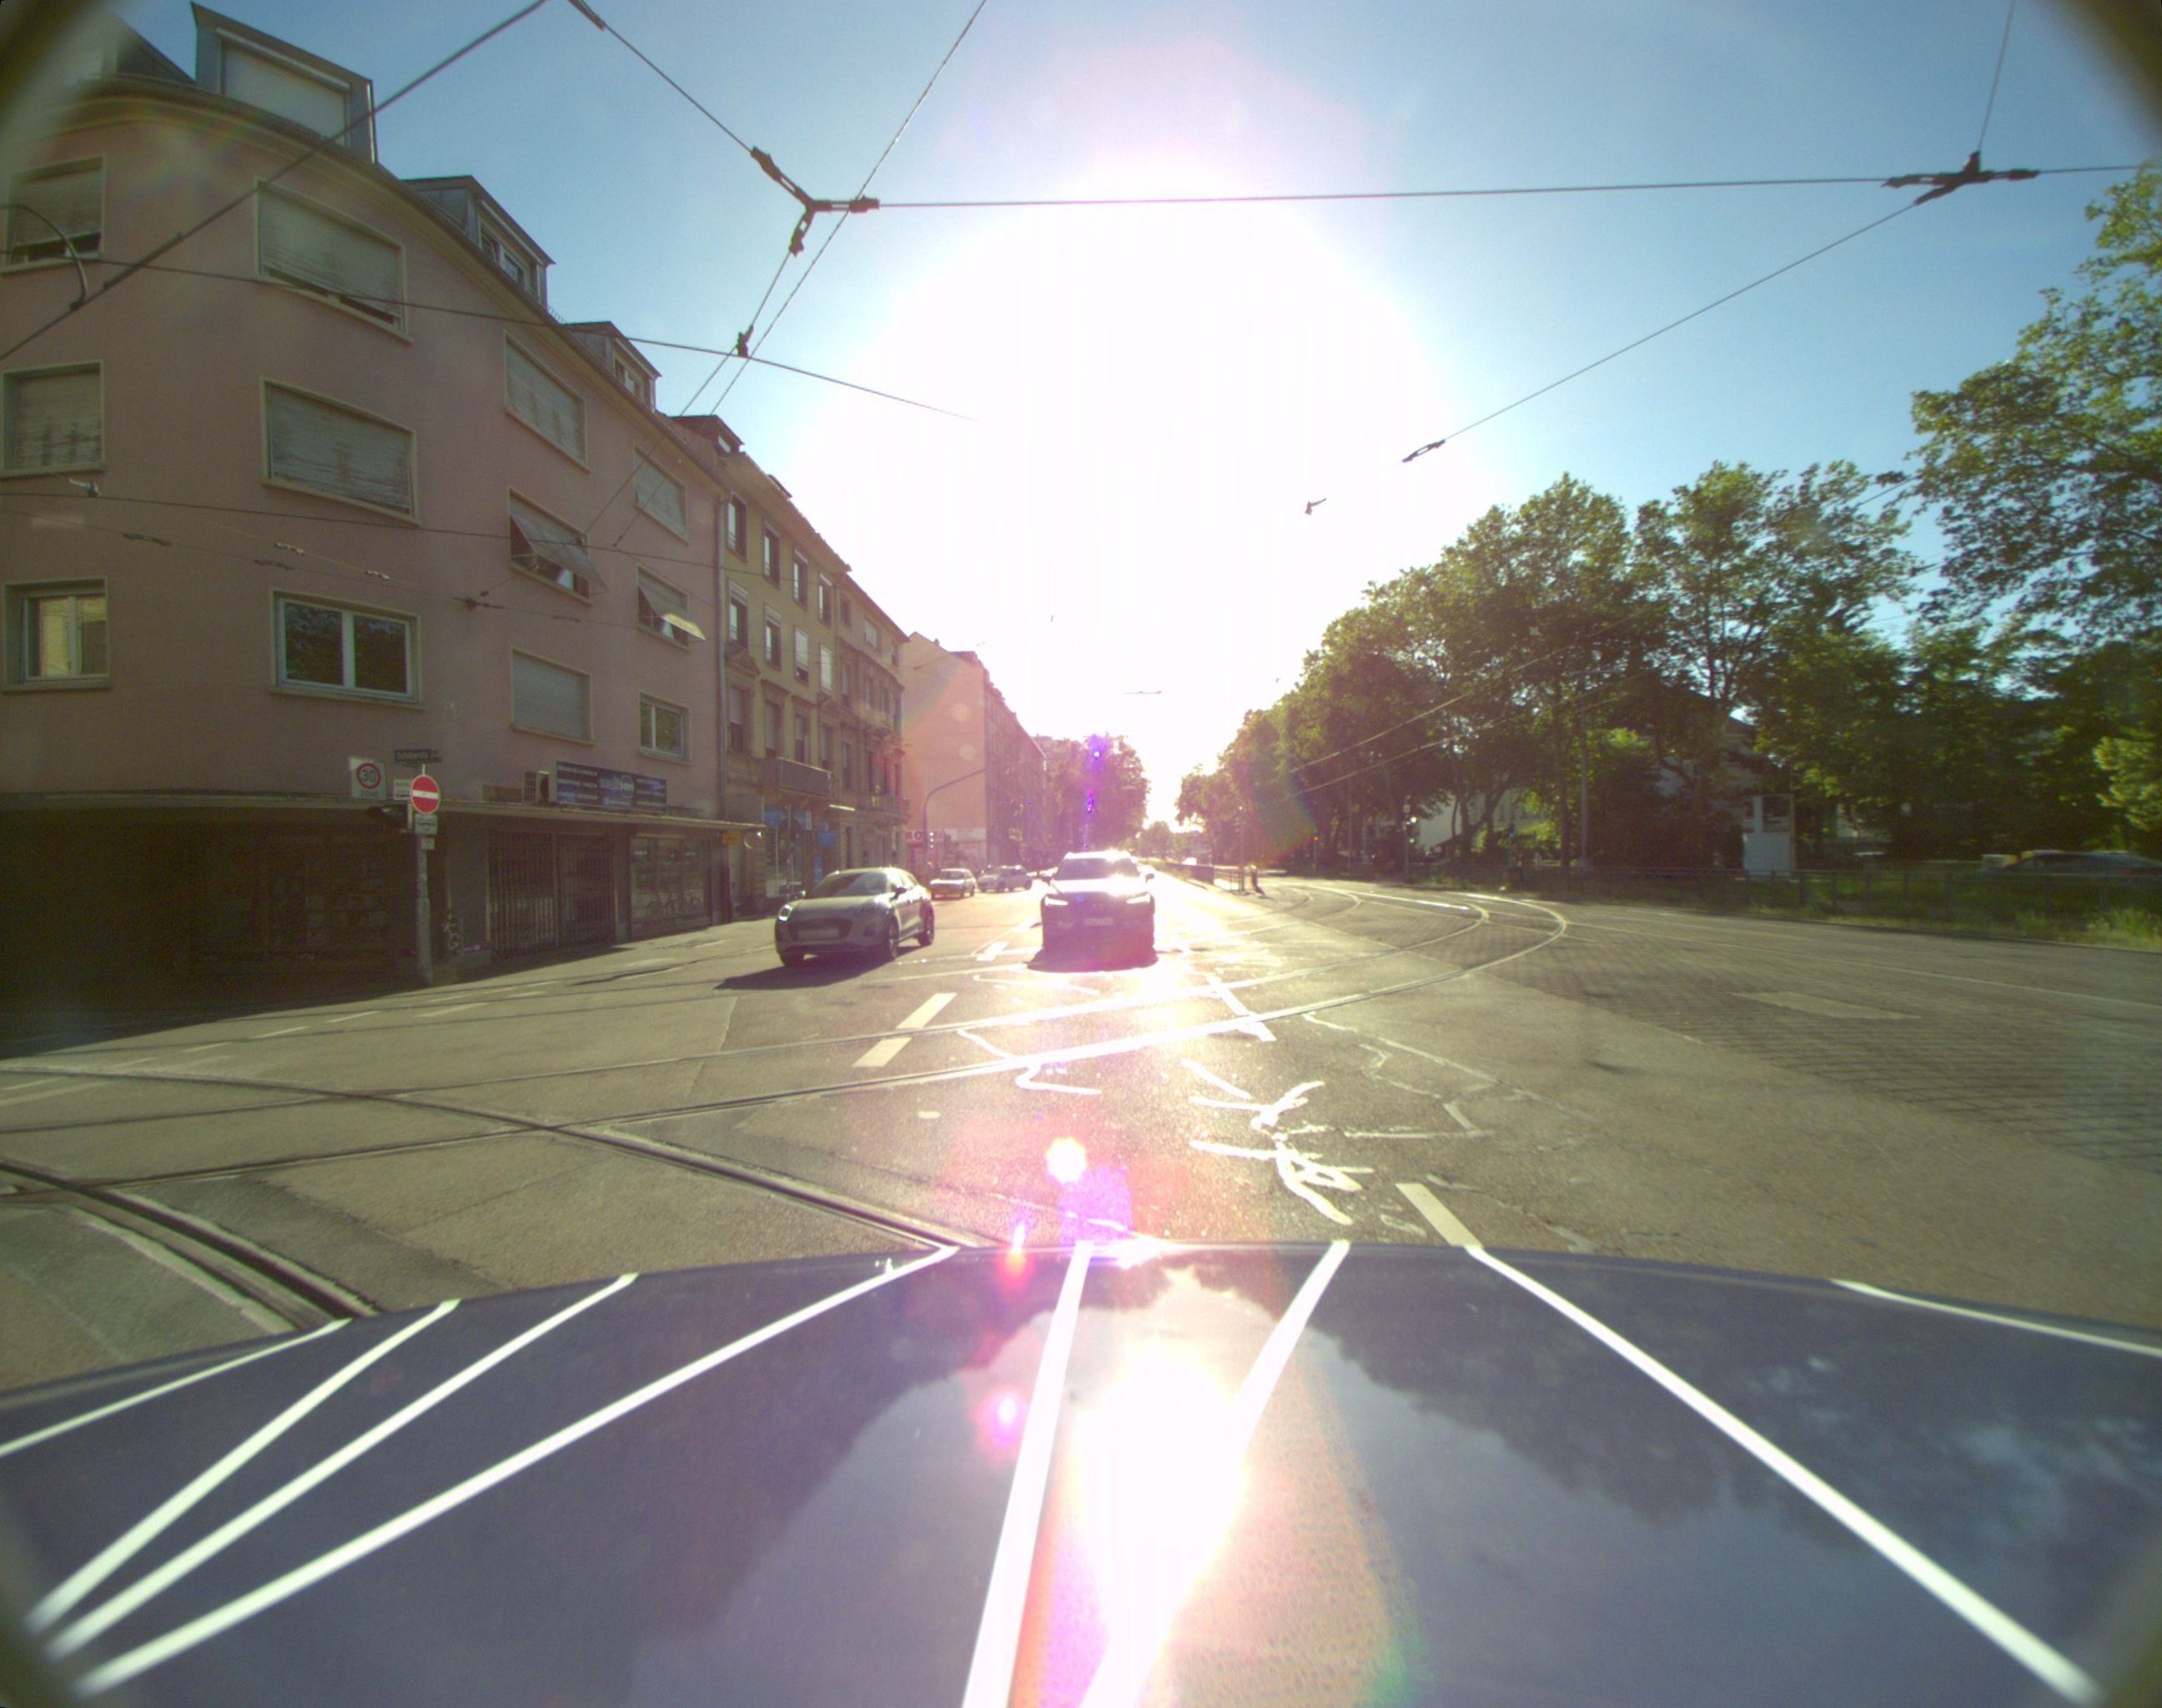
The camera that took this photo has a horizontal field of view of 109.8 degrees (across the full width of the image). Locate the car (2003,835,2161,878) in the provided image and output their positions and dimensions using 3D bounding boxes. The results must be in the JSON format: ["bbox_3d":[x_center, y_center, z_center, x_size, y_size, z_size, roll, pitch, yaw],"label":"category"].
[{"bbox_3d":[38.065,0.092,28.800,1.745,1.462,3.742,-3,0,3],"label":"car"}]

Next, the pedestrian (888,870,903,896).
[{"bbox_3d":[-9.233,1.426,37.920,0.495,1.252,0.660,-2,0,5],"label":"pedestrian"}]

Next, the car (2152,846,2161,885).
[{"bbox_3d":[29.124,0.270,18.454,1.483,1.023,3.406,-3,0,3],"label":"car"}]

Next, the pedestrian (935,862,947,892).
[{"bbox_3d":[-8.371,1.353,45.353,0.495,1.751,0.660,-2,0,3],"label":"pedestrian"}]

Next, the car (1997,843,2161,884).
[{"bbox_3d":[29.385,0.262,22.197,1.503,1.043,3.129,-3,0,3],"label":"car"}]

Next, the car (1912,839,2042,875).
[{"bbox_3d":[38.622,0.118,32.898,1.633,1.388,3.485,-3,0,5],"label":"car"}]

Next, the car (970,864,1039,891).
[{"bbox_3d":[-4.618,1.421,46.436,1.812,1.442,4.008,-3,0,40],"label":"car"}]

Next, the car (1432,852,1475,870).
[{"bbox_3d":[31.633,0.587,64.622,1.722,1.462,3.757,-3,0,1],"label":"car"}]

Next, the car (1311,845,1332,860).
[{"bbox_3d":[29.667,-0.159,93.979,1.745,1.782,3.743,-1,-1,6],"label":"car"}]

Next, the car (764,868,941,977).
[{"bbox_3d":[-3.759,1.052,13.247,1.659,1.473,3.973,-3,0,2],"label":"car"}]

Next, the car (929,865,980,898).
[{"bbox_3d":[-6.298,1.325,38.238,1.738,1.510,4.001,0,0,2],"label":"car"}]

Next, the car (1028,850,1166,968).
[{"bbox_3d":[0.319,0.834,13.301,1.968,1.664,4.001,-3,0,2],"label":"car"}]

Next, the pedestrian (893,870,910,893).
[{"bbox_3d":[-9.283,1.443,39.343,0.658,1.163,0.496,-2,0,17],"label":"pedestrian"}]

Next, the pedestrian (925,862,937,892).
[{"bbox_3d":[-8.996,1.363,45.489,0.495,1.752,0.660,-2,1,3],"label":"pedestrian"}]
